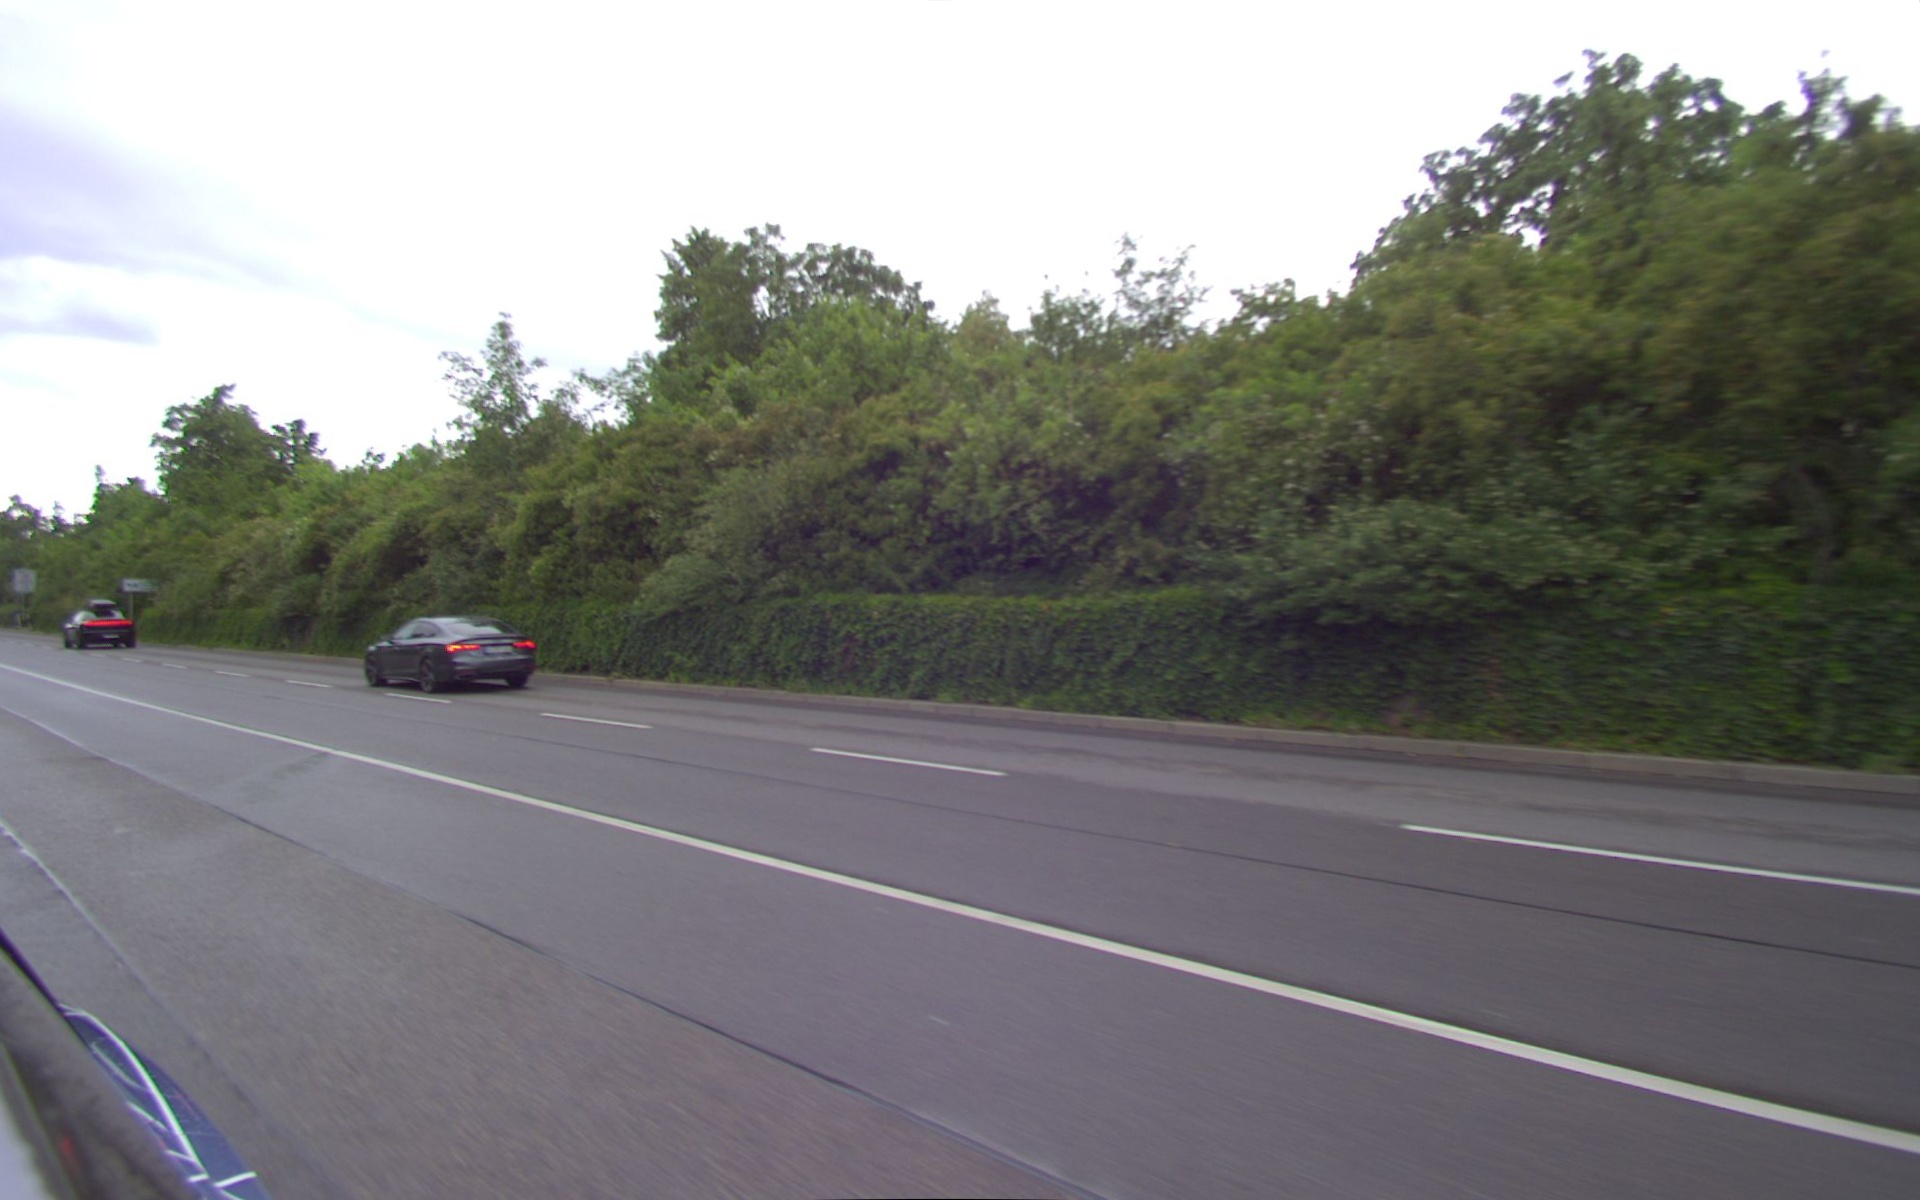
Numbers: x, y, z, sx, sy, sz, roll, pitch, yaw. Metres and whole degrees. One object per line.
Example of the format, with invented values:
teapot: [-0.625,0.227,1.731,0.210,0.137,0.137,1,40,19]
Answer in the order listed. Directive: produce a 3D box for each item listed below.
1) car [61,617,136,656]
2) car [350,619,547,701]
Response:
car: [-37.464,1.539,43.974,4.628,1.564,1.879,-1,0,42]
car: [-10.112,1.129,19.833,4.835,1.391,1.741,-2,-1,41]
